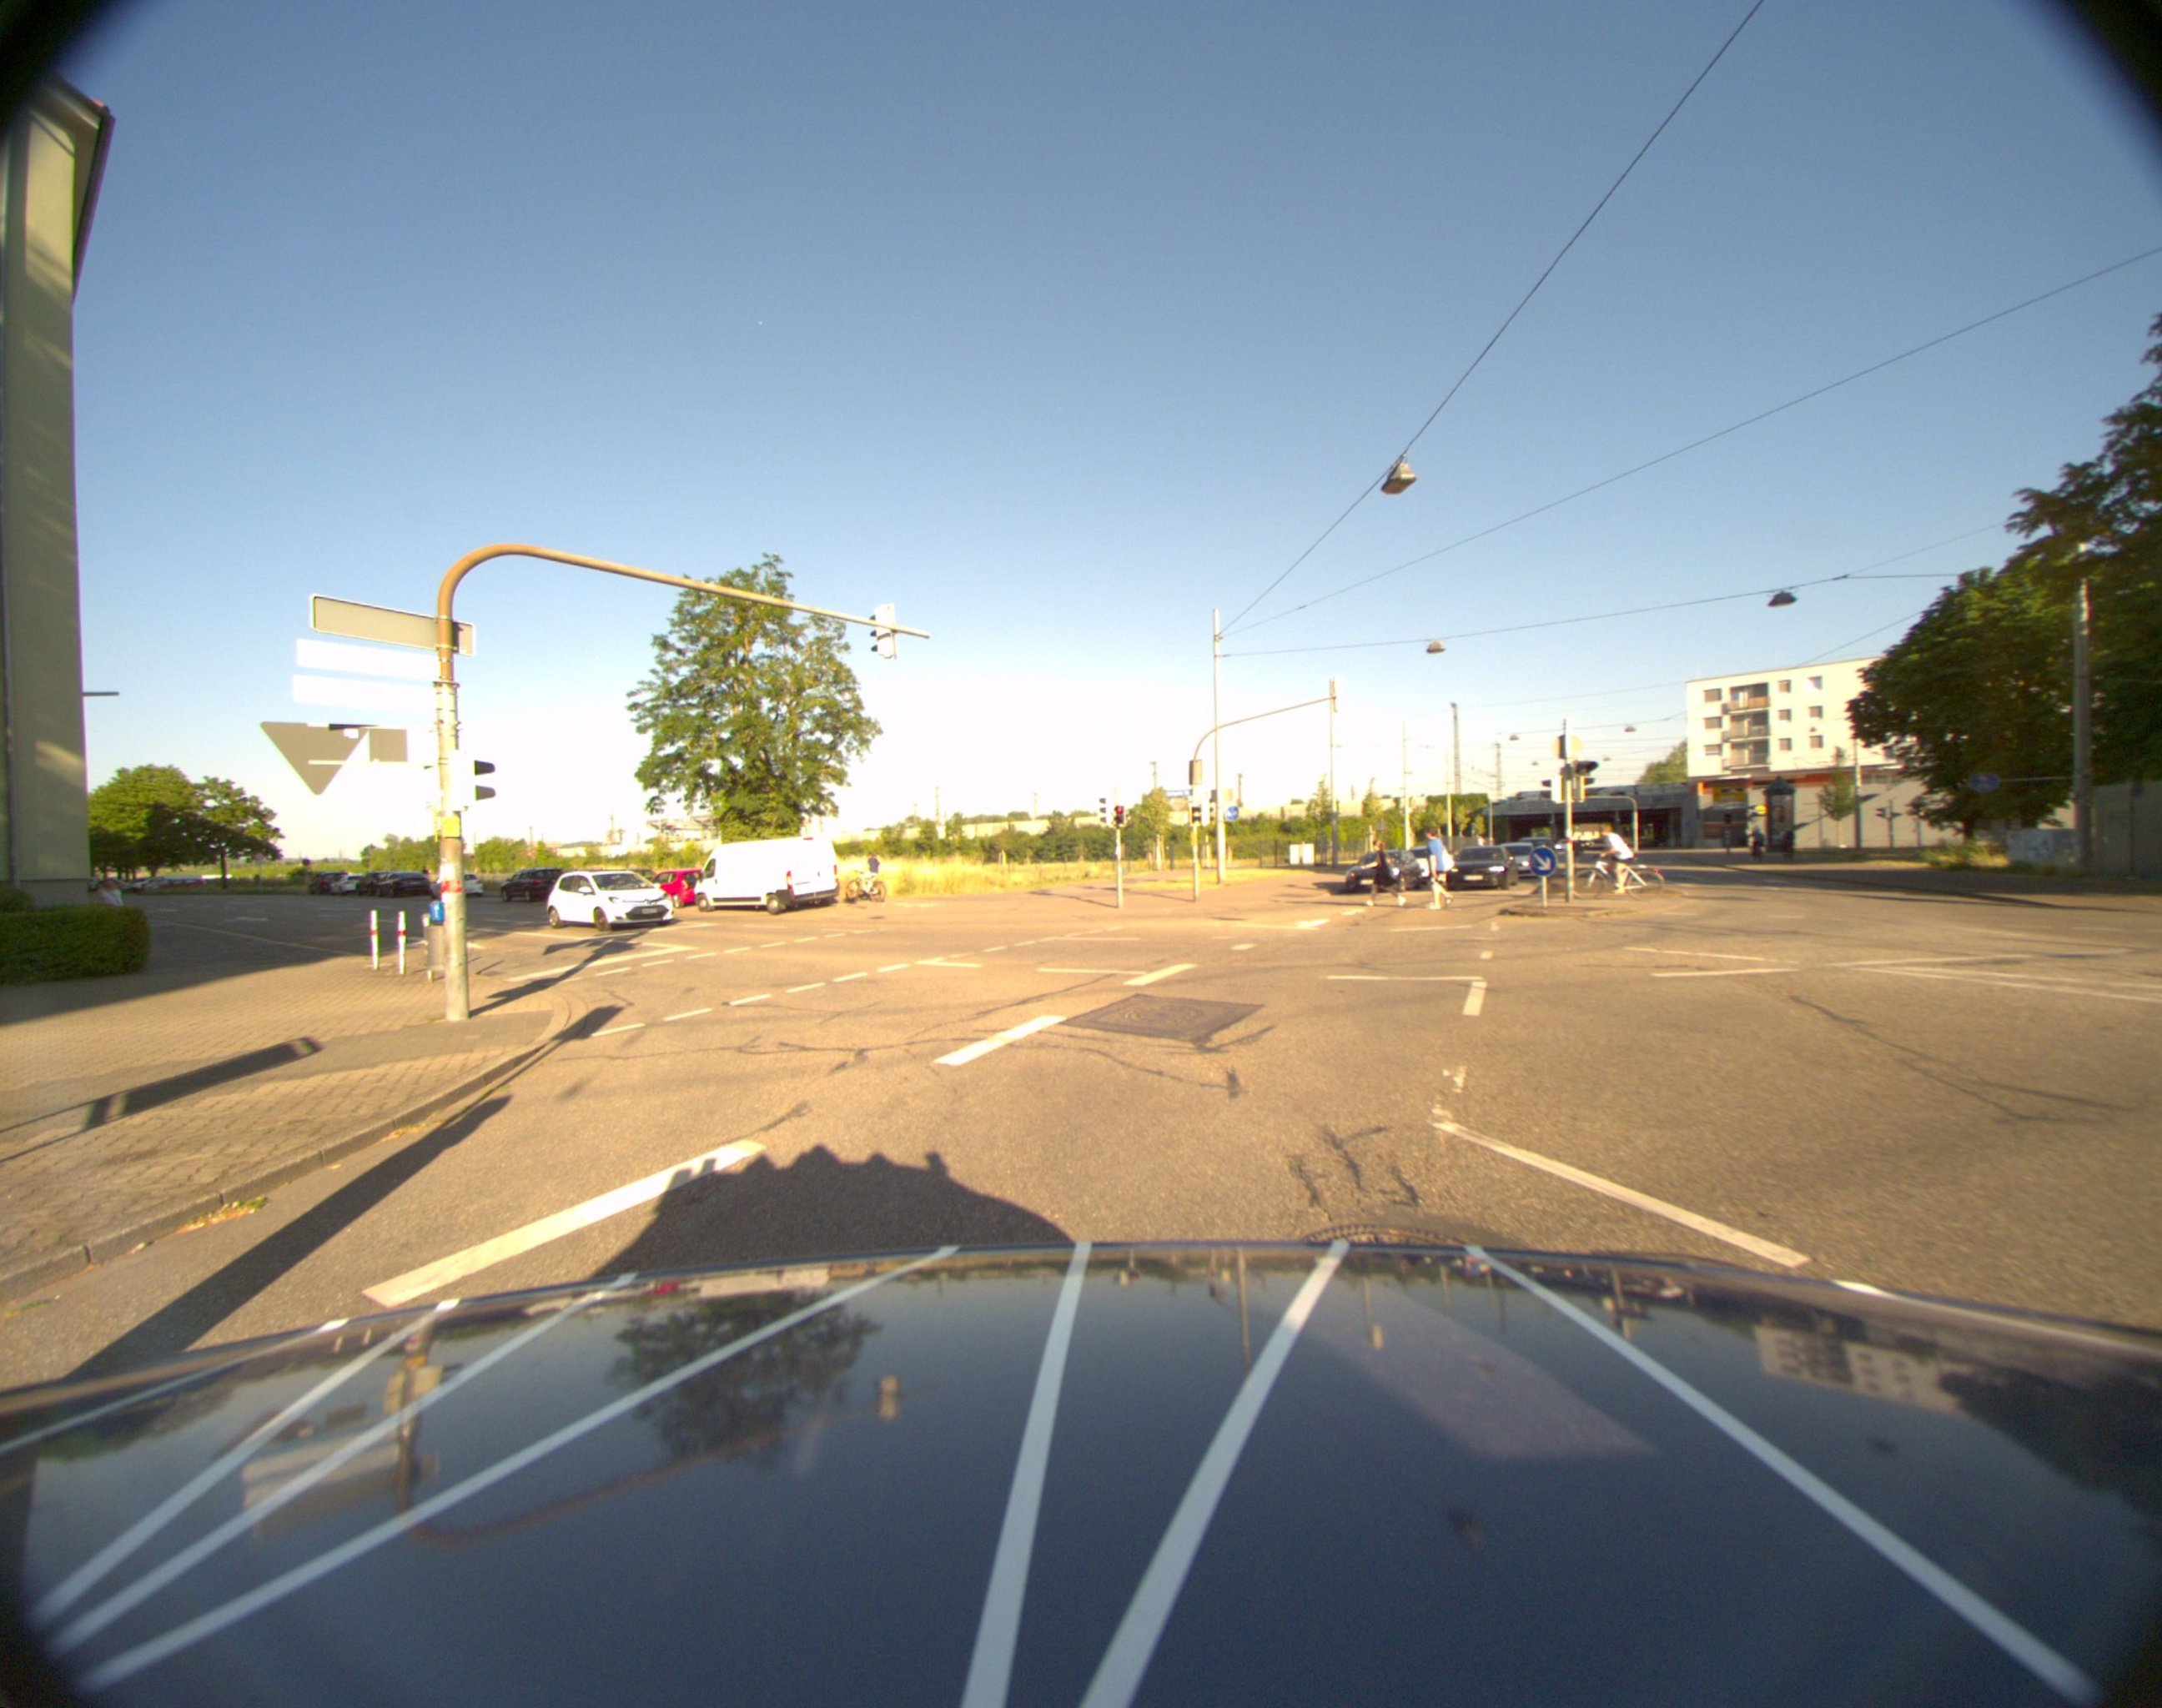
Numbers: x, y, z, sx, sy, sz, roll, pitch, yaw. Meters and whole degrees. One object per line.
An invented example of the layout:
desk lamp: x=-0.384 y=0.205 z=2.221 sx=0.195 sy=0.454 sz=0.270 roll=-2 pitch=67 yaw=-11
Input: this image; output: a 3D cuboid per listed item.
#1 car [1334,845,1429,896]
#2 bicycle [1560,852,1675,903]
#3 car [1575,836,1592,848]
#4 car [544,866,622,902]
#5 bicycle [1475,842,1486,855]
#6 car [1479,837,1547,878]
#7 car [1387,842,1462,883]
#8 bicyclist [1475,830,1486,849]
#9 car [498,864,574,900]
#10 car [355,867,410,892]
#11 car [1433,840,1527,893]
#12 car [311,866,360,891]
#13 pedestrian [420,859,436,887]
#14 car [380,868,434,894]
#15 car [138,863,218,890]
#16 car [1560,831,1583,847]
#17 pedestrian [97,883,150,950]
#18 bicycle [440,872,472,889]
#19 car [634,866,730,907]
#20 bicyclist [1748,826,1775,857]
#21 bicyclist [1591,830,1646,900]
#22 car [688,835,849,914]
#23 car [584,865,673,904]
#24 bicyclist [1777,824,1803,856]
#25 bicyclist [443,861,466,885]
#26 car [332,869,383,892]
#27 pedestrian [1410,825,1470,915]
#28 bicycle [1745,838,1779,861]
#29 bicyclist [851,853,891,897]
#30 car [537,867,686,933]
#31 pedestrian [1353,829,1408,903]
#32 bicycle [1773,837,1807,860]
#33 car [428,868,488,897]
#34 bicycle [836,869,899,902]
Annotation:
car: x=10.483 y=0.540 z=26.297 sx=1.995 sy=1.558 sz=4.283 roll=-2 pitch=0 yaw=36
bicycle: x=12.775 y=0.553 z=18.153 sx=2.195 sy=1.136 sz=0.702 roll=-1 pitch=1 yaw=35
car: x=77.805 y=-1.833 z=117.623 sx=1.994 sy=1.694 sz=4.008 roll=-1 pitch=1 yaw=35
car: x=-23.134 y=1.365 z=35.278 sx=3.569 sy=1.521 sz=1.668 roll=-1 pitch=1 yaw=33
bicycle: x=34.797 y=-0.462 z=66.162 sx=0.662 sy=1.063 sz=2.023 roll=-1 pitch=1 yaw=34
car: x=18.239 y=0.132 z=31.973 sx=1.994 sy=1.558 sz=4.465 roll=-1 pitch=1 yaw=36
car: x=14.403 y=0.319 z=31.703 sx=1.994 sy=1.558 sz=4.283 roll=-1 pitch=1 yaw=36
bicyclist: x=34.776 y=-1.246 z=66.159 sx=0.775 sy=1.596 sz=0.859 roll=0 pitch=1 yaw=34
car: x=-27.068 y=1.378 z=37.688 sx=3.995 sy=1.650 sz=1.668 roll=-1 pitch=1 yaw=33
car: x=-47.874 y=1.728 z=52.068 sx=4.208 sy=1.628 sz=1.829 roll=-1 pitch=1 yaw=35
car: x=13.383 y=0.371 z=25.342 sx=2.048 sy=1.558 sz=4.459 roll=-1 pitch=1 yaw=37
car: x=-57.219 y=1.854 z=58.330 sx=4.208 sy=1.765 sz=1.896 roll=-1 pitch=1 yaw=35
pedestrian: x=-47.244 y=1.386 z=54.968 sx=0.728 sy=2.002 sz=0.617 roll=-1 pitch=1 yaw=32
car: x=-43.257 y=1.726 z=48.739 sx=4.277 sy=1.517 sz=1.829 roll=-1 pitch=1 yaw=38
car: x=-100.904 y=2.437 z=84.962 sx=2.260 sy=2.399 sz=5.333 roll=-1 pitch=5 yaw=34
car: x=55.408 y=-1.697 z=85.836 sx=1.994 sy=1.694 sz=4.008 roll=-1 pitch=1 yaw=36
pedestrian: x=-26.095 y=1.679 z=20.707 sx=0.947 sy=1.697 sz=0.789 roll=0 pitch=1 yaw=34
bicycle: x=-43.710 y=1.844 z=53.118 sx=2.475 sy=1.182 sz=0.942 roll=-1 pitch=1 yaw=32
car: x=-15.979 y=1.267 z=30.392 sx=3.684 sy=1.478 sz=1.750 roll=-1 pitch=1 yaw=33
bicyclist: x=33.383 y=-0.614 z=37.278 sx=0.696 sy=1.523 sz=1.039 roll=-1 pitch=1 yaw=25
bicyclist: x=12.776 y=0.252 z=18.087 sx=1.039 sy=1.620 sz=0.715 roll=-1 pitch=1 yaw=34
car: x=-11.016 y=0.696 z=26.673 sx=5.545 sy=2.423 sz=2.239 roll=-1 pitch=4 yaw=32
car: x=-19.577 y=1.301 z=32.853 sx=3.806 sy=1.521 sz=1.750 roll=-1 pitch=1 yaw=33
bicyclist: x=34.424 y=-0.661 z=36.899 sx=0.659 sy=1.523 sz=1.039 roll=-1 pitch=1 yaw=26
bicyclist: x=-43.764 y=1.334 z=53.067 sx=1.143 sy=1.587 sz=0.868 roll=-1 pitch=1 yaw=32
car: x=-52.374 y=1.892 z=55.010 sx=4.208 sy=1.565 sz=1.829 roll=-1 pitch=1 yaw=35
pedestrian: x=7.982 y=0.341 z=16.884 sx=1.064 sy=1.914 sz=0.916 roll=-1 pitch=1 yaw=32
bicycle: x=33.417 y=-0.224 z=37.301 sx=0.662 sy=1.063 sz=2.022 roll=-1 pitch=1 yaw=25
bicyclist: x=-7.498 y=0.747 z=27.161 sx=1.019 sy=1.538 sz=0.854 roll=-1 pitch=1 yaw=32
car: x=-11.987 y=1.112 z=19.343 sx=3.765 sy=1.460 sz=1.709 roll=-1 pitch=1 yaw=33
pedestrian: x=7.285 y=0.276 z=18.474 sx=1.064 sy=1.737 sz=0.916 roll=-1 pitch=1 yaw=32
bicycle: x=34.458 y=-0.268 z=36.931 sx=0.662 sy=1.063 sz=2.022 roll=-1 pitch=1 yaw=27
car: x=-35.877 y=1.612 z=43.747 sx=3.573 sy=1.517 sz=1.711 roll=-1 pitch=1 yaw=34
bicycle: x=-7.646 y=1.113 z=27.160 sx=2.286 sy=1.143 sz=0.794 roll=-1 pitch=1 yaw=30
